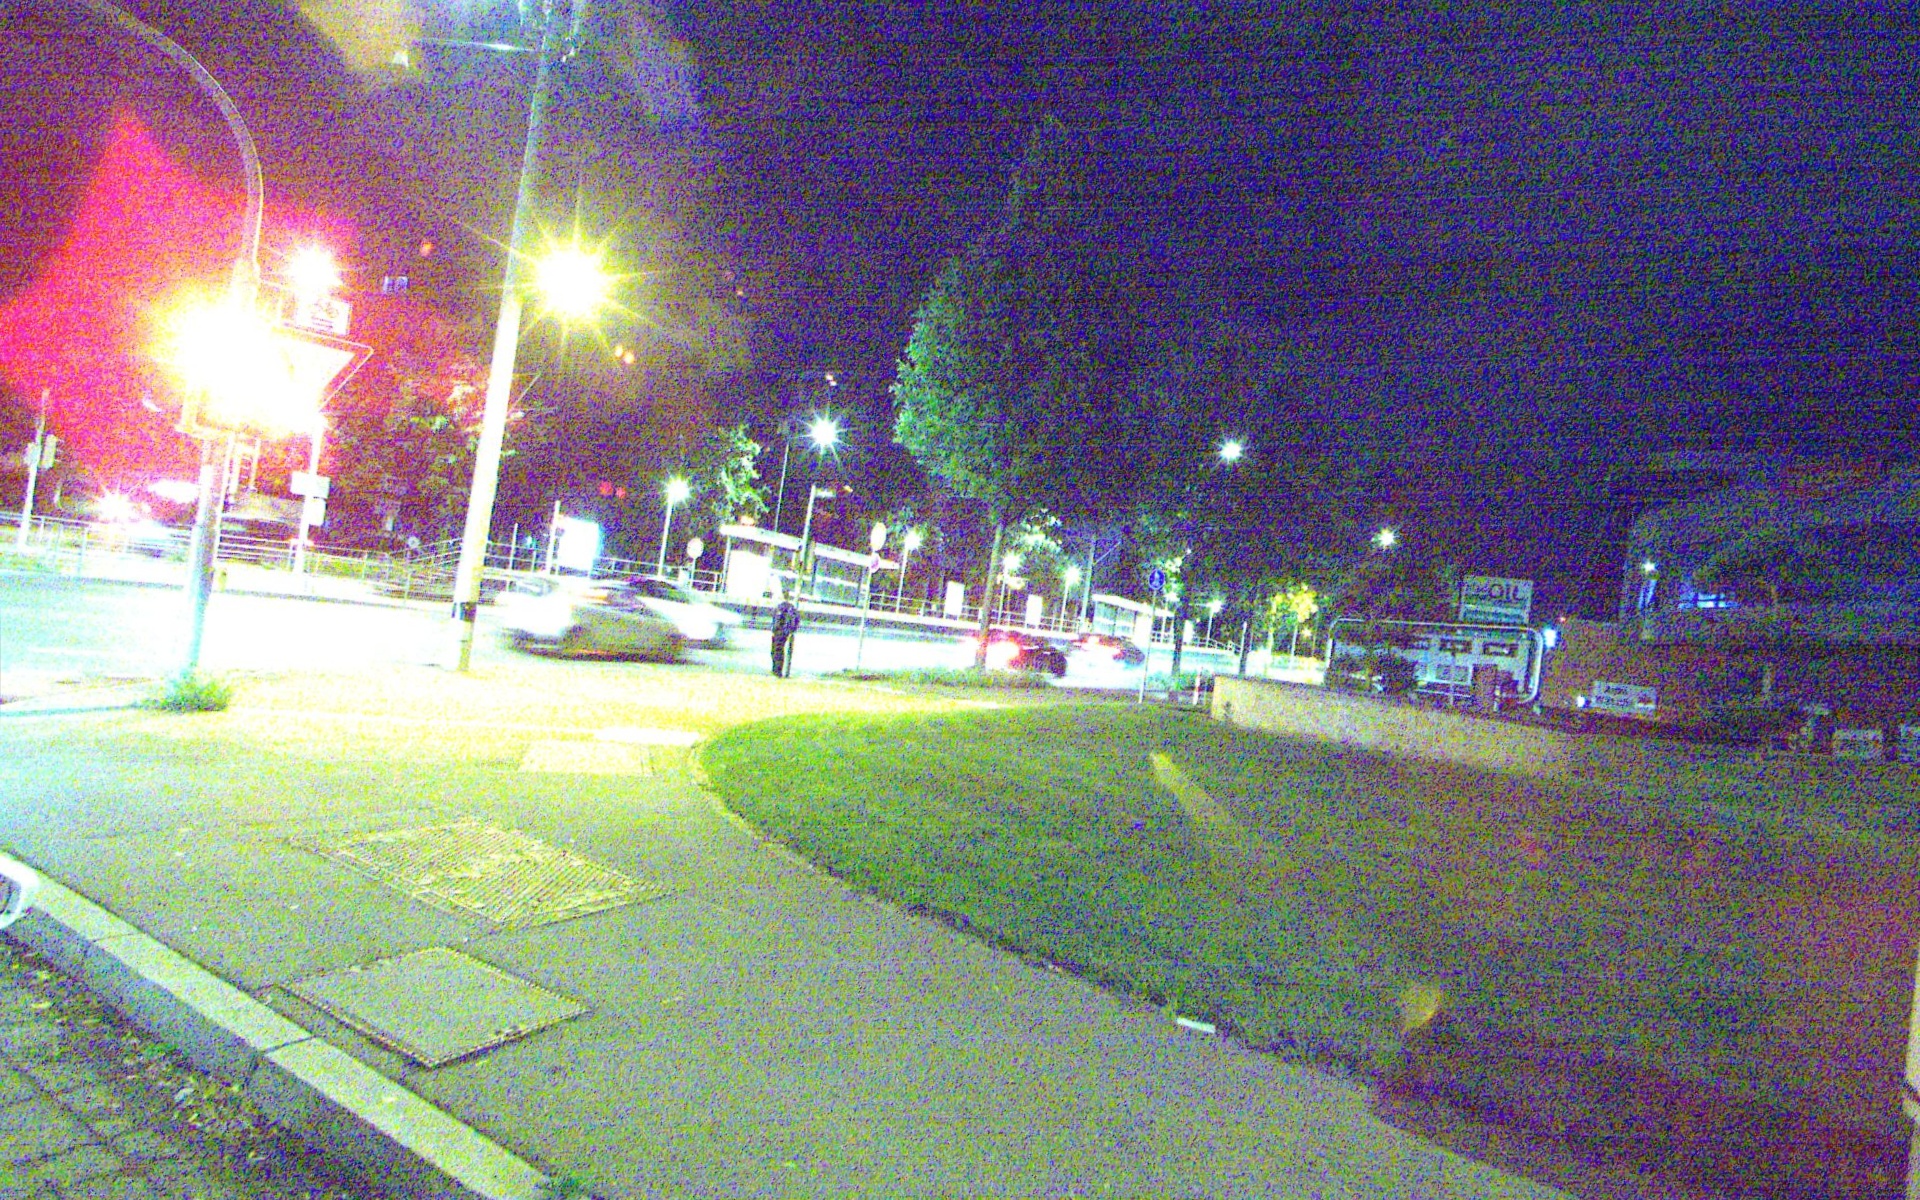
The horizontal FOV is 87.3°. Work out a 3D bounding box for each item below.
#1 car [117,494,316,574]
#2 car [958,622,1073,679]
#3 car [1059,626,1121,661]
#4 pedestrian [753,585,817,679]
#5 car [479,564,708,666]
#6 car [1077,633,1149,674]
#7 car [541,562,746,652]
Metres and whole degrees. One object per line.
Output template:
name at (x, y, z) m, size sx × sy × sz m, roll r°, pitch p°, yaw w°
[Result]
car at (-23.695, -2.068, 32.222) m, size 1.969 × 1.748 × 4.622 m, roll 6°, pitch -2°, yaw 35°
car at (1.941, 1.734, 33.627) m, size 1.833 × 1.510 × 4.477 m, roll 8°, pitch 0°, yaw 31°
car at (6.828, 2.301, 52.629) m, size 1.719 × 1.605 × 3.993 m, roll 5°, pitch -1°, yaw 29°
pedestrian at (-3.422, 0.630, 19.702) m, size 0.820 × 1.767 × 0.755 m, roll 4°, pitch 0°, yaw 31°
car at (-7.050, 0.356, 19.705) m, size 1.660 × 1.525 × 3.833 m, roll 9°, pitch 0°, yaw 34°
car at (7.185, 2.535, 47.009) m, size 1.762 × 1.481 × 3.994 m, roll 6°, pitch -2°, yaw 33°
car at (-7.611, 0.235, 24.629) m, size 1.784 × 1.584 × 4.514 m, roll 10°, pitch 0°, yaw 35°
